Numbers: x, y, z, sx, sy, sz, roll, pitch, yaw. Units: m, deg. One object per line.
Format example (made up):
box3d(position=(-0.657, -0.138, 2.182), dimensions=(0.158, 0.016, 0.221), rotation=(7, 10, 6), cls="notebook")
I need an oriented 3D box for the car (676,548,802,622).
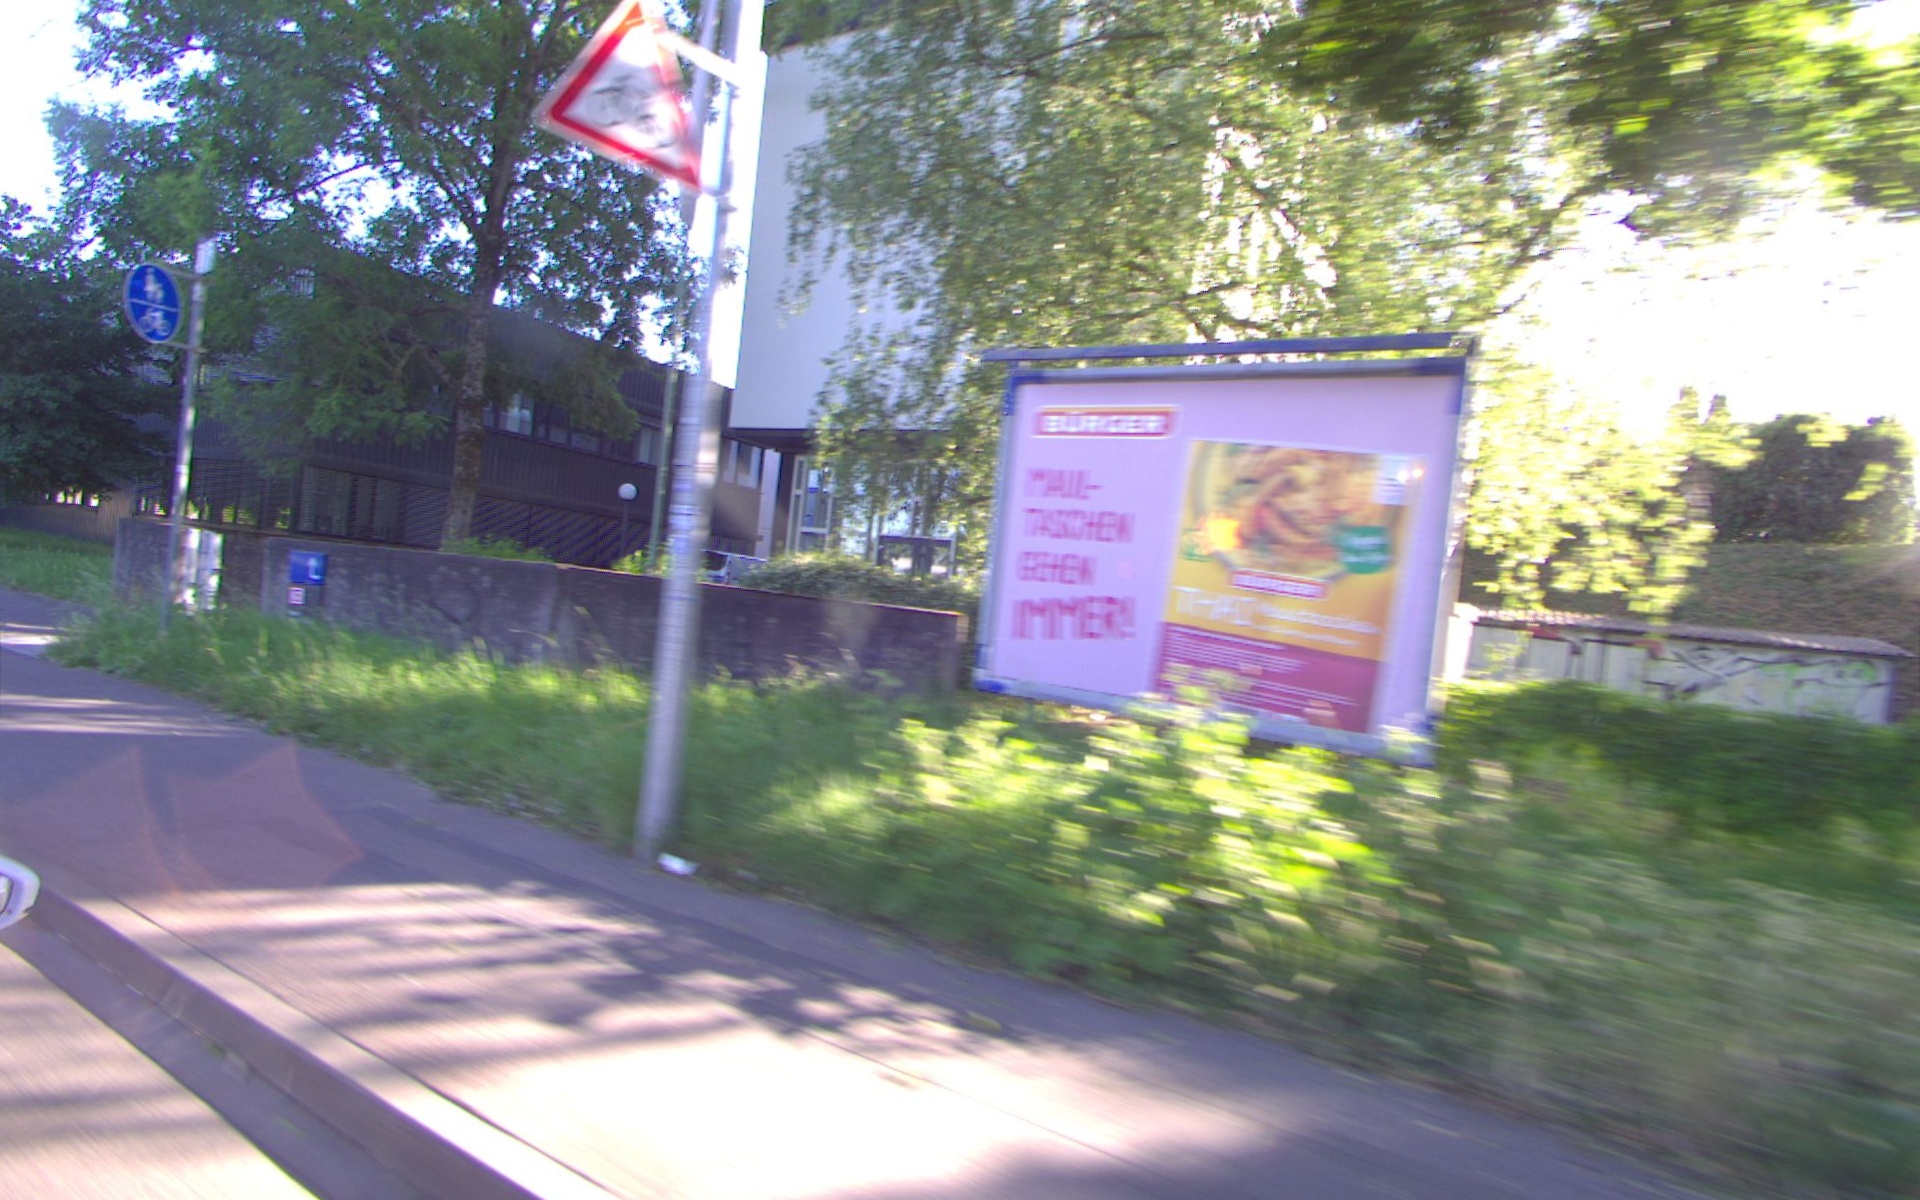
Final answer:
box3d(position=(-7.616, -0.482, 35.037), dimensions=(1.966, 2.037, 3.996), rotation=(5, -3, 30), cls="car")
